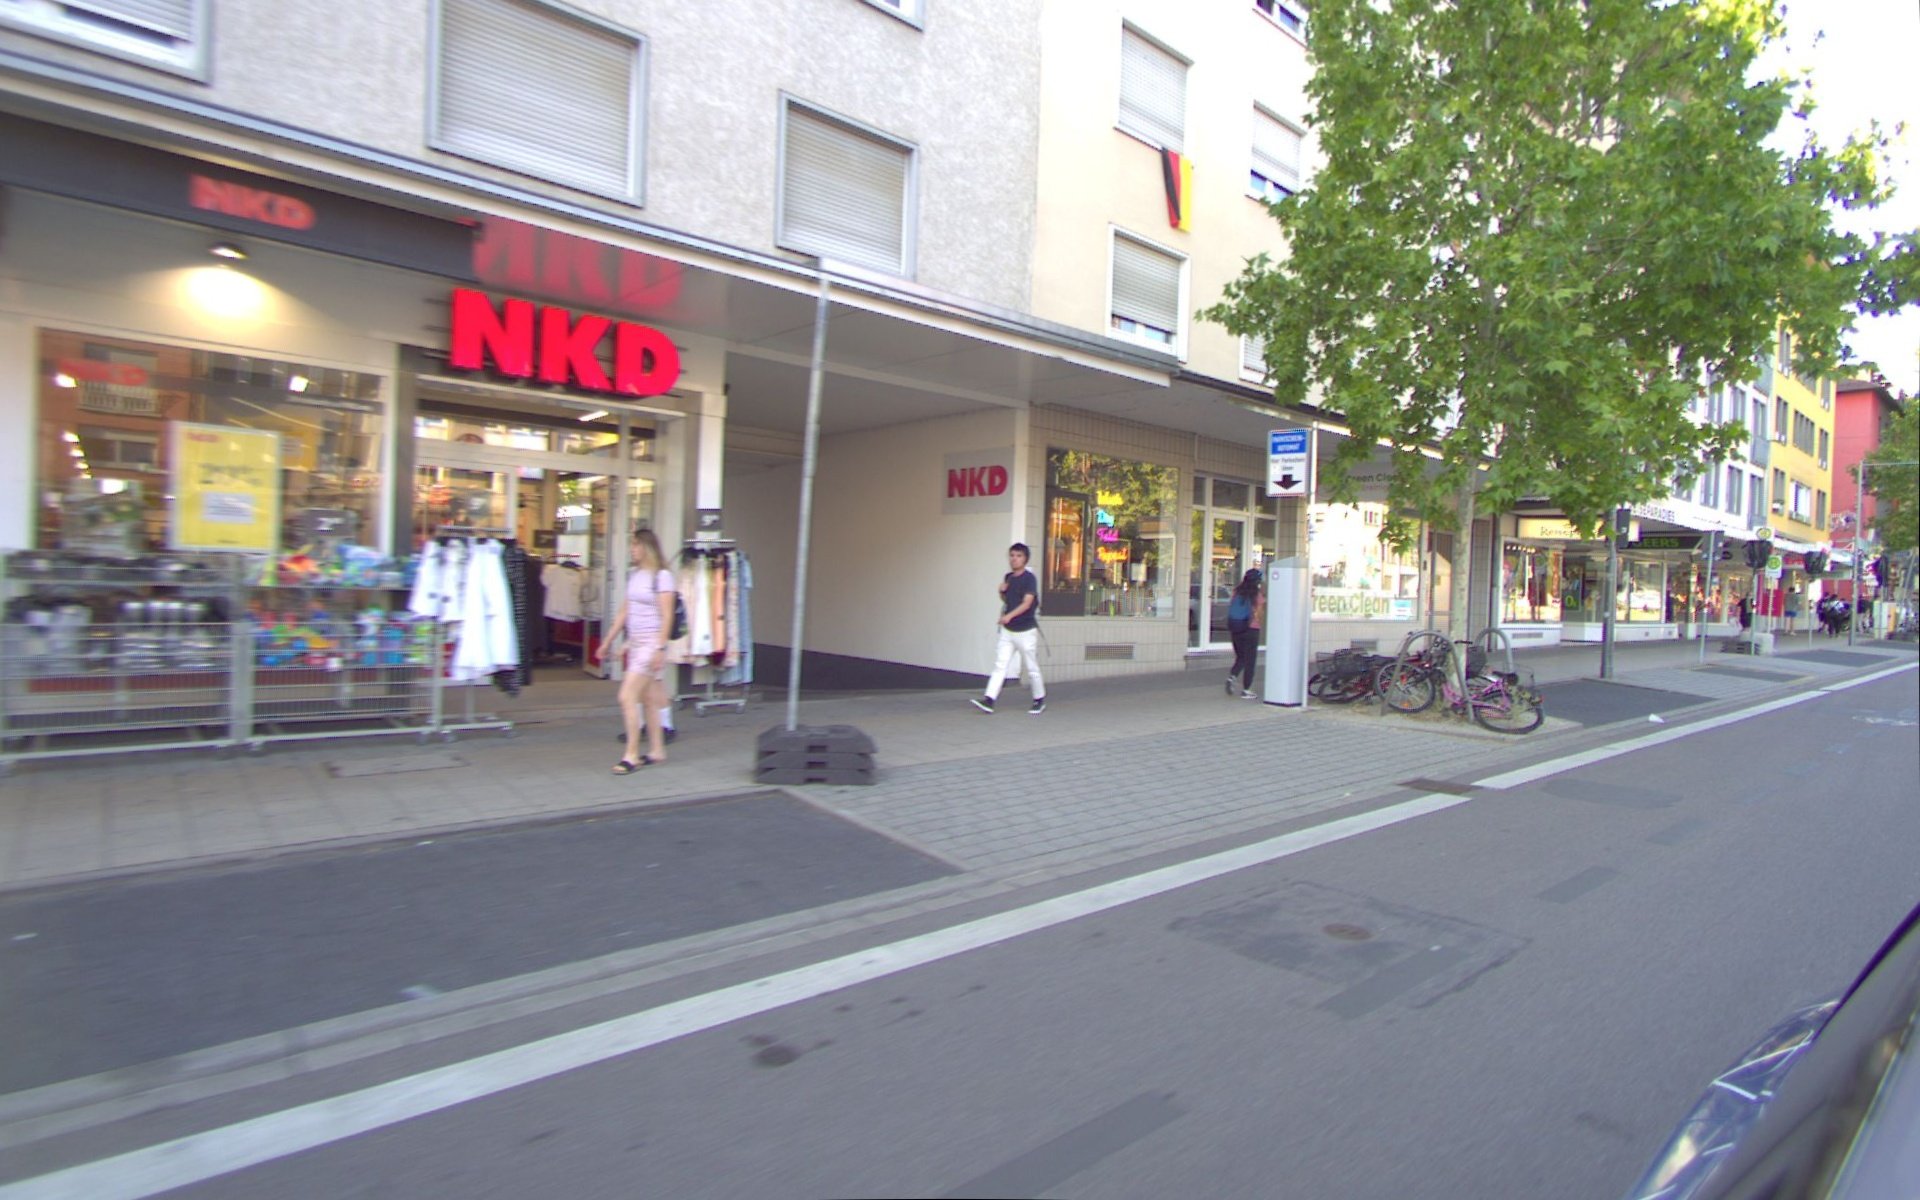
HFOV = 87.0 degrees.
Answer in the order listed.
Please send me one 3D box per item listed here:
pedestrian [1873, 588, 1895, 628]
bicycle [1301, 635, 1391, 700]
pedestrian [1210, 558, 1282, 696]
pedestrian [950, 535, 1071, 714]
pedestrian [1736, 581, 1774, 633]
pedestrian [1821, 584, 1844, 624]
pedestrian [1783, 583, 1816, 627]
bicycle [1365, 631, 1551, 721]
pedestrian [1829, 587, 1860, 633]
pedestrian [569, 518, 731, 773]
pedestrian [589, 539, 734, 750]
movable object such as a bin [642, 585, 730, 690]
[{"bbox_3d":[39.456,0.341,43.209,0.640,1.675,0.634,0,0,-41],"label":"pedestrian"},{"bbox_3d":[4.606,0.773,12.016,0.831,0.579,1.745,3,2,26],"label":"bicycle"},{"bbox_3d":[3.450,0.309,12.210,0.637,1.586,0.490,0,3,-40],"label":"pedestrian"},{"bbox_3d":[0.519,0.218,10.196,1.051,1.695,0.569,0,3,-41],"label":"pedestrian"},{"bbox_3d":[26.186,0.230,33.334,0.900,1.675,0.851,0,0,-41],"label":"pedestrian"},{"bbox_3d":[37.142,0.181,43.083,0.640,1.675,0.634,0,0,-41],"label":"pedestrian"},{"bbox_3d":[32.254,0.172,38.873,0.900,1.675,0.851,0,0,-41],"label":"pedestrian"},{"bbox_3d":[5.382,0.792,11.019,1.744,0.788,0.696,3,2,27],"label":"bicycle"},{"bbox_3d":[33.080,0.366,37.863,0.647,1.695,0.693,0,3,-41],"label":"pedestrian"},{"bbox_3d":[-2.147,0.283,7.020,0.880,1.649,0.547,1,2,-41],"label":"pedestrian"},{"bbox_3d":[-2.302,0.314,7.819,0.880,1.520,0.542,1,2,-41],"label":"pedestrian"},{"bbox_3d":[-3.110,0.434,11.463,0.709,1.136,0.769,2,-6,-40],"label":"movable object such as a bin"}]
